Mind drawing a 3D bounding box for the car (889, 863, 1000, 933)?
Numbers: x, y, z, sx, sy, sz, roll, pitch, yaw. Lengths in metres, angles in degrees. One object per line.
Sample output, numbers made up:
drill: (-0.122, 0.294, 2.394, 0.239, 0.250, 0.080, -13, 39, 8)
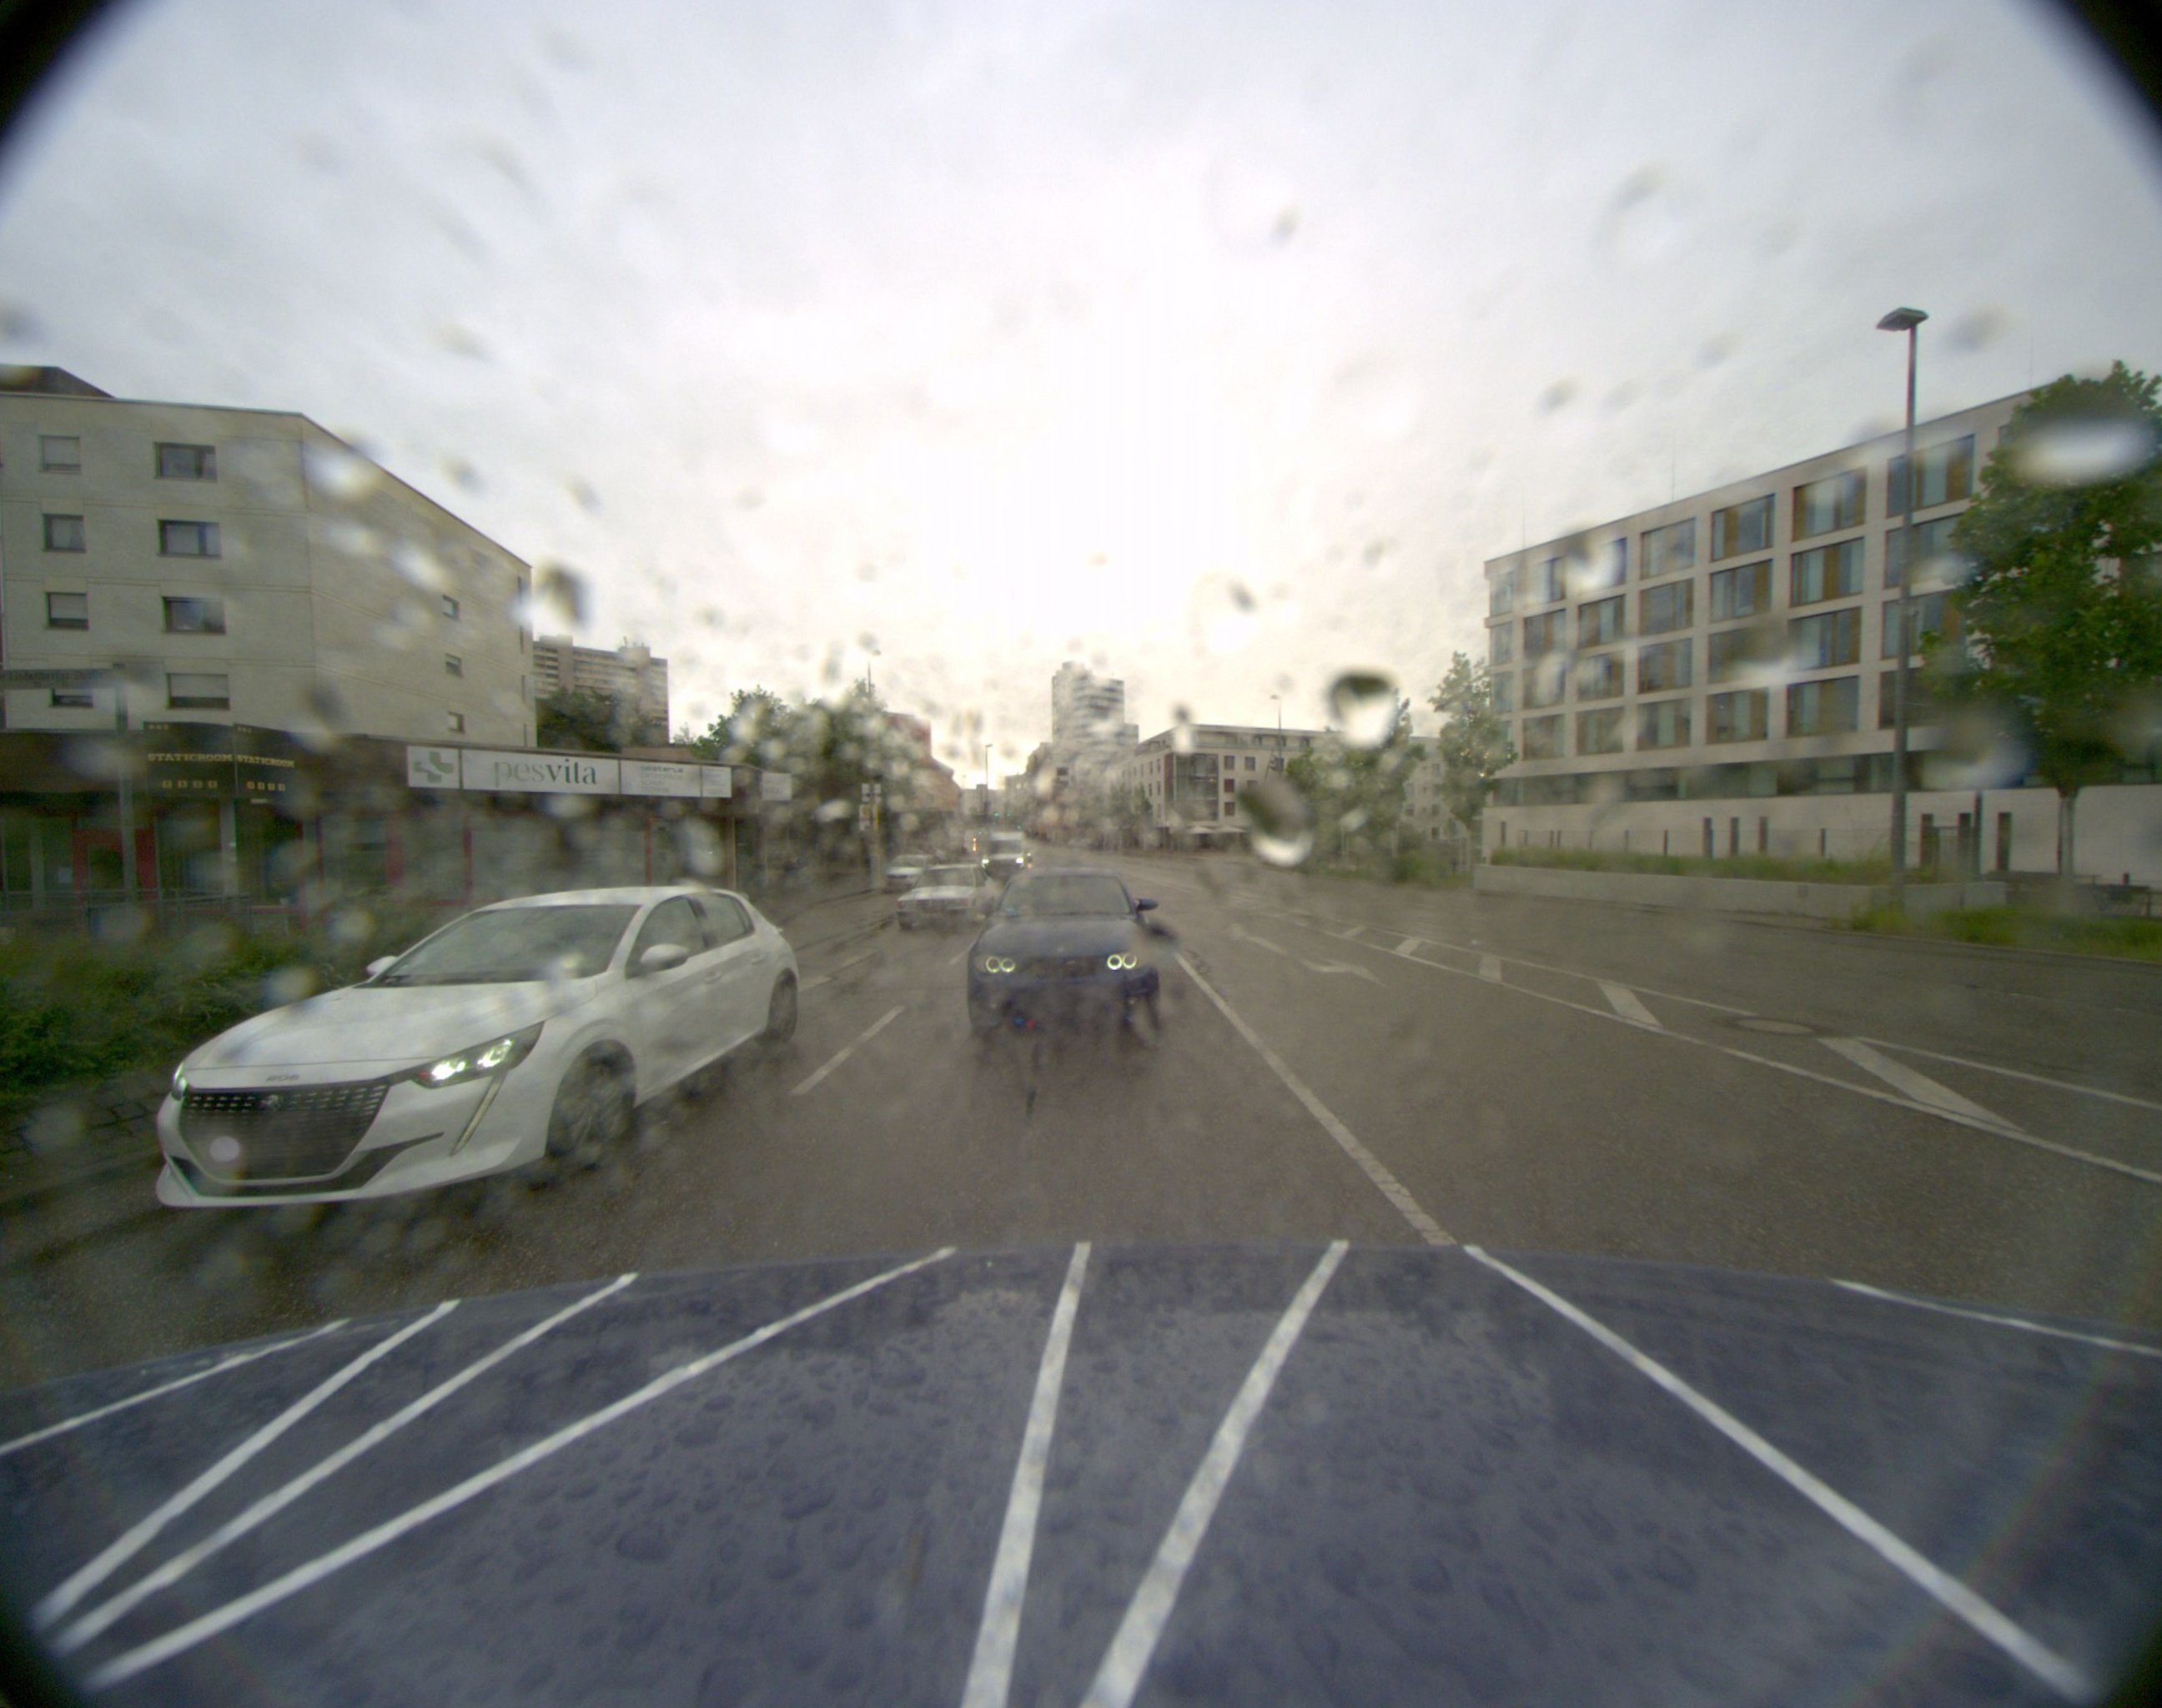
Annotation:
car: (-3.132, 0.967, 18.271, 1.788, 1.338, 4.162, -2, 1, 1)

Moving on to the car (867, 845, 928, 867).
car: (-12.756, 0.131, 53.063, 4.000, 1.419, 1.882, -1, 1, -10)

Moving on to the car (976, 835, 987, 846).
car: (-19.348, -2.612, 148.214, 2.000, 2.002, 3.997, -2, 1, -6)

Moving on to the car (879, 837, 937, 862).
car: (-12.619, -0.350, 55.497, 4.000, 1.769, 1.882, -1, 1, -10)

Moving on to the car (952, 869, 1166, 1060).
car: (-0.222, 0.928, 8.146, 1.693, 1.380, 3.999, -2, 1, -1)

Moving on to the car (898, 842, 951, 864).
car: (-12.072, -0.082, 58.832, 4.000, 1.584, 1.883, -1, -1, -10)

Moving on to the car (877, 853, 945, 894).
car: (-6.926, 0.767, 31.372, 1.788, 1.481, 4.000, -2, 1, 1)

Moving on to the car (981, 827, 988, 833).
car: (-26.954, -6.659, 212.461, 1.666, 1.625, 3.801, -2, 1, -11)

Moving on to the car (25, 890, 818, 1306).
car: (-3.363, 1.082, 5.114, 1.666, 1.407, 4.114, -2, 1, 1)

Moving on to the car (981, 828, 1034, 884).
car: (-3.532, 0.028, 37.644, 2.197, 2.503, 6.120, -1, 1, -2)
